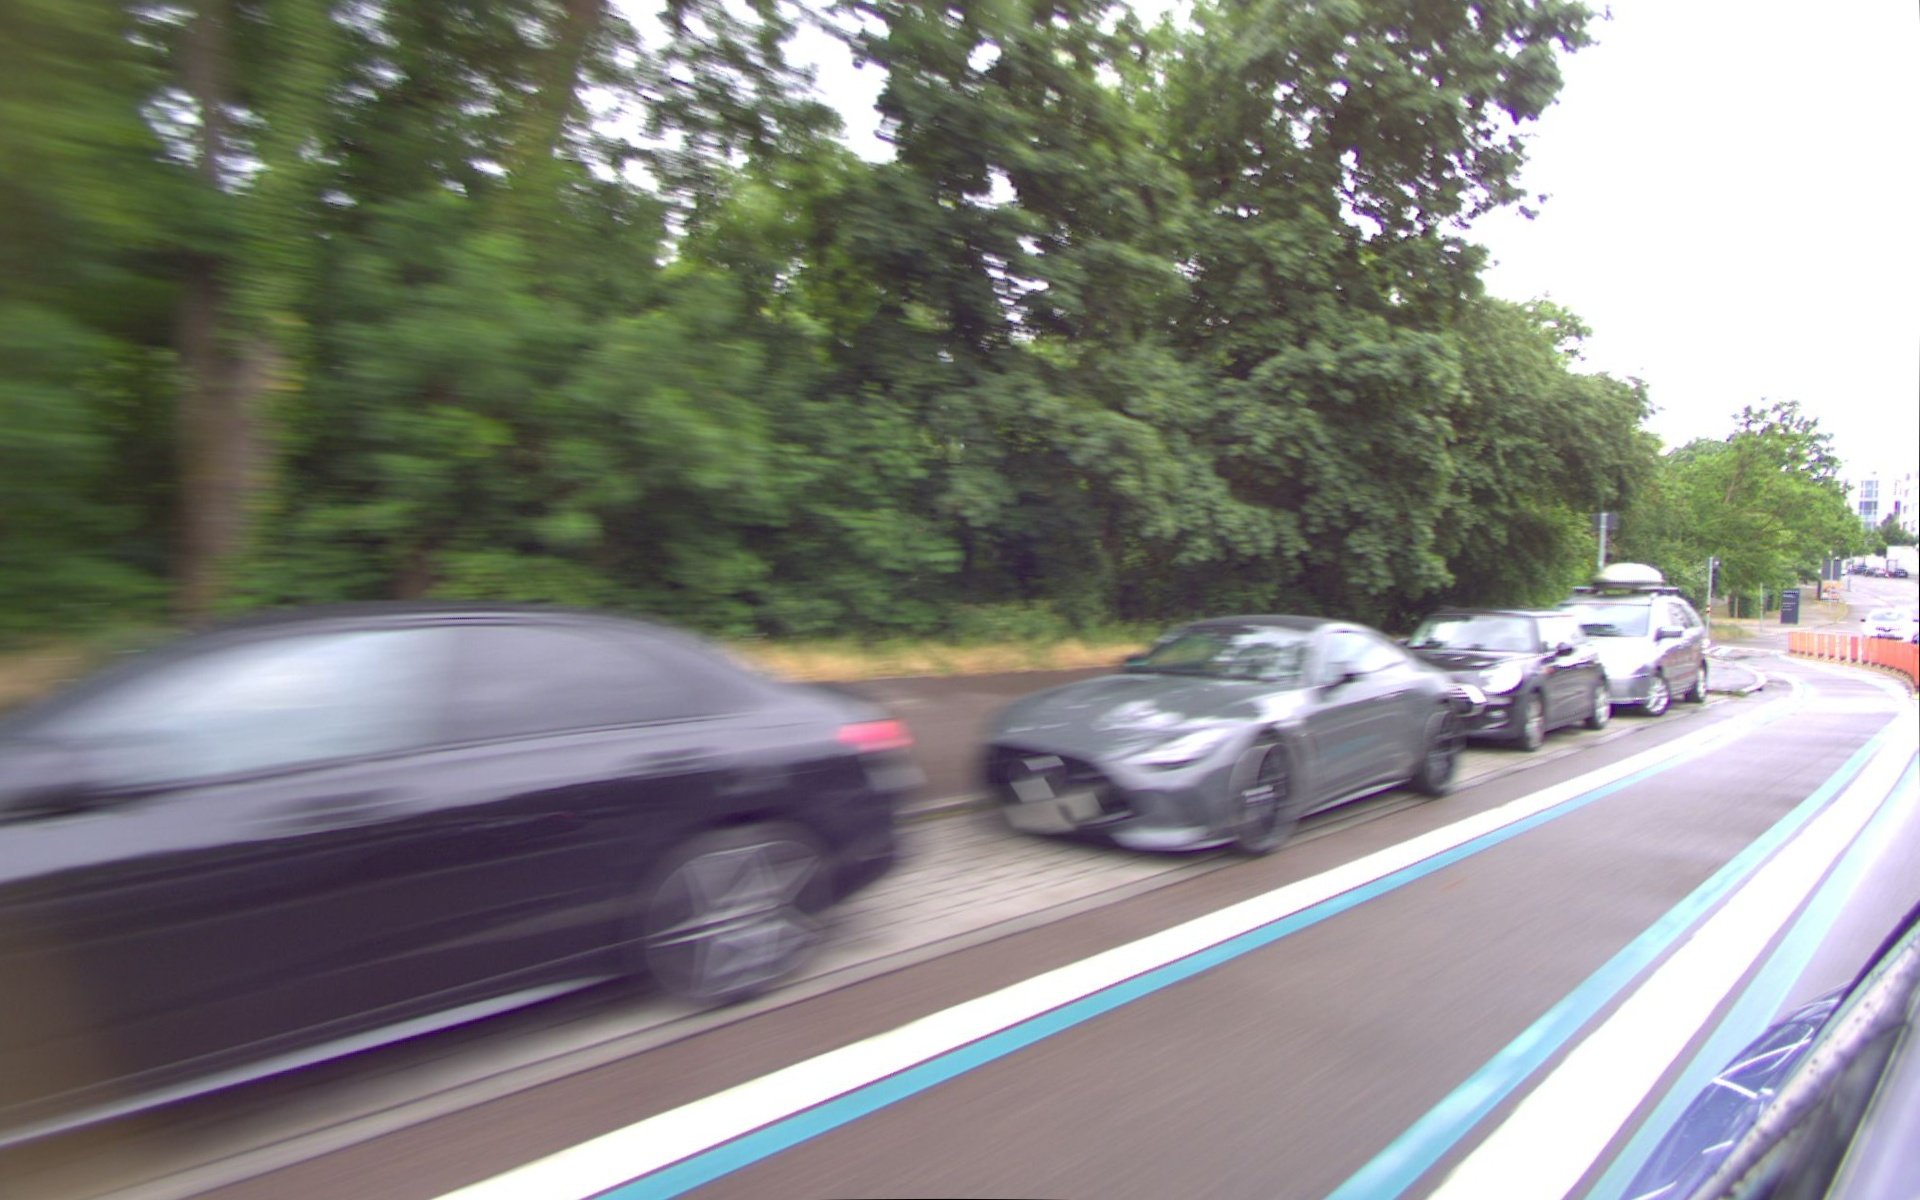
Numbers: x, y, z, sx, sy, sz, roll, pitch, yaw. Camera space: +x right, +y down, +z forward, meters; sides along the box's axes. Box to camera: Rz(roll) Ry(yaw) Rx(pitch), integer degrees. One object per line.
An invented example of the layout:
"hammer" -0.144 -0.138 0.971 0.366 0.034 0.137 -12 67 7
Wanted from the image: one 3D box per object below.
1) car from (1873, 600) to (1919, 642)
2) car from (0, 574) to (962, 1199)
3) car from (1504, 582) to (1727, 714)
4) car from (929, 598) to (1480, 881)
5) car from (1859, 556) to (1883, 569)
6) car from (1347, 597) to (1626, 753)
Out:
"car" 40.506 0.869 43.281 3.934 1.683 1.924 0 1 -45
"car" -2.349 0.671 3.435 4.668 1.473 1.859 0 0 -41
"car" 9.557 0.589 14.623 4.182 1.635 1.823 0 -1 -44
"car" 1.984 0.698 7.284 4.313 1.417 1.854 0 0 -44
"car" 152.515 -6.289 169.471 1.907 2.038 4.344 1 2 28
"car" 5.953 0.699 11.274 3.643 1.431 1.698 0 -1 -44
